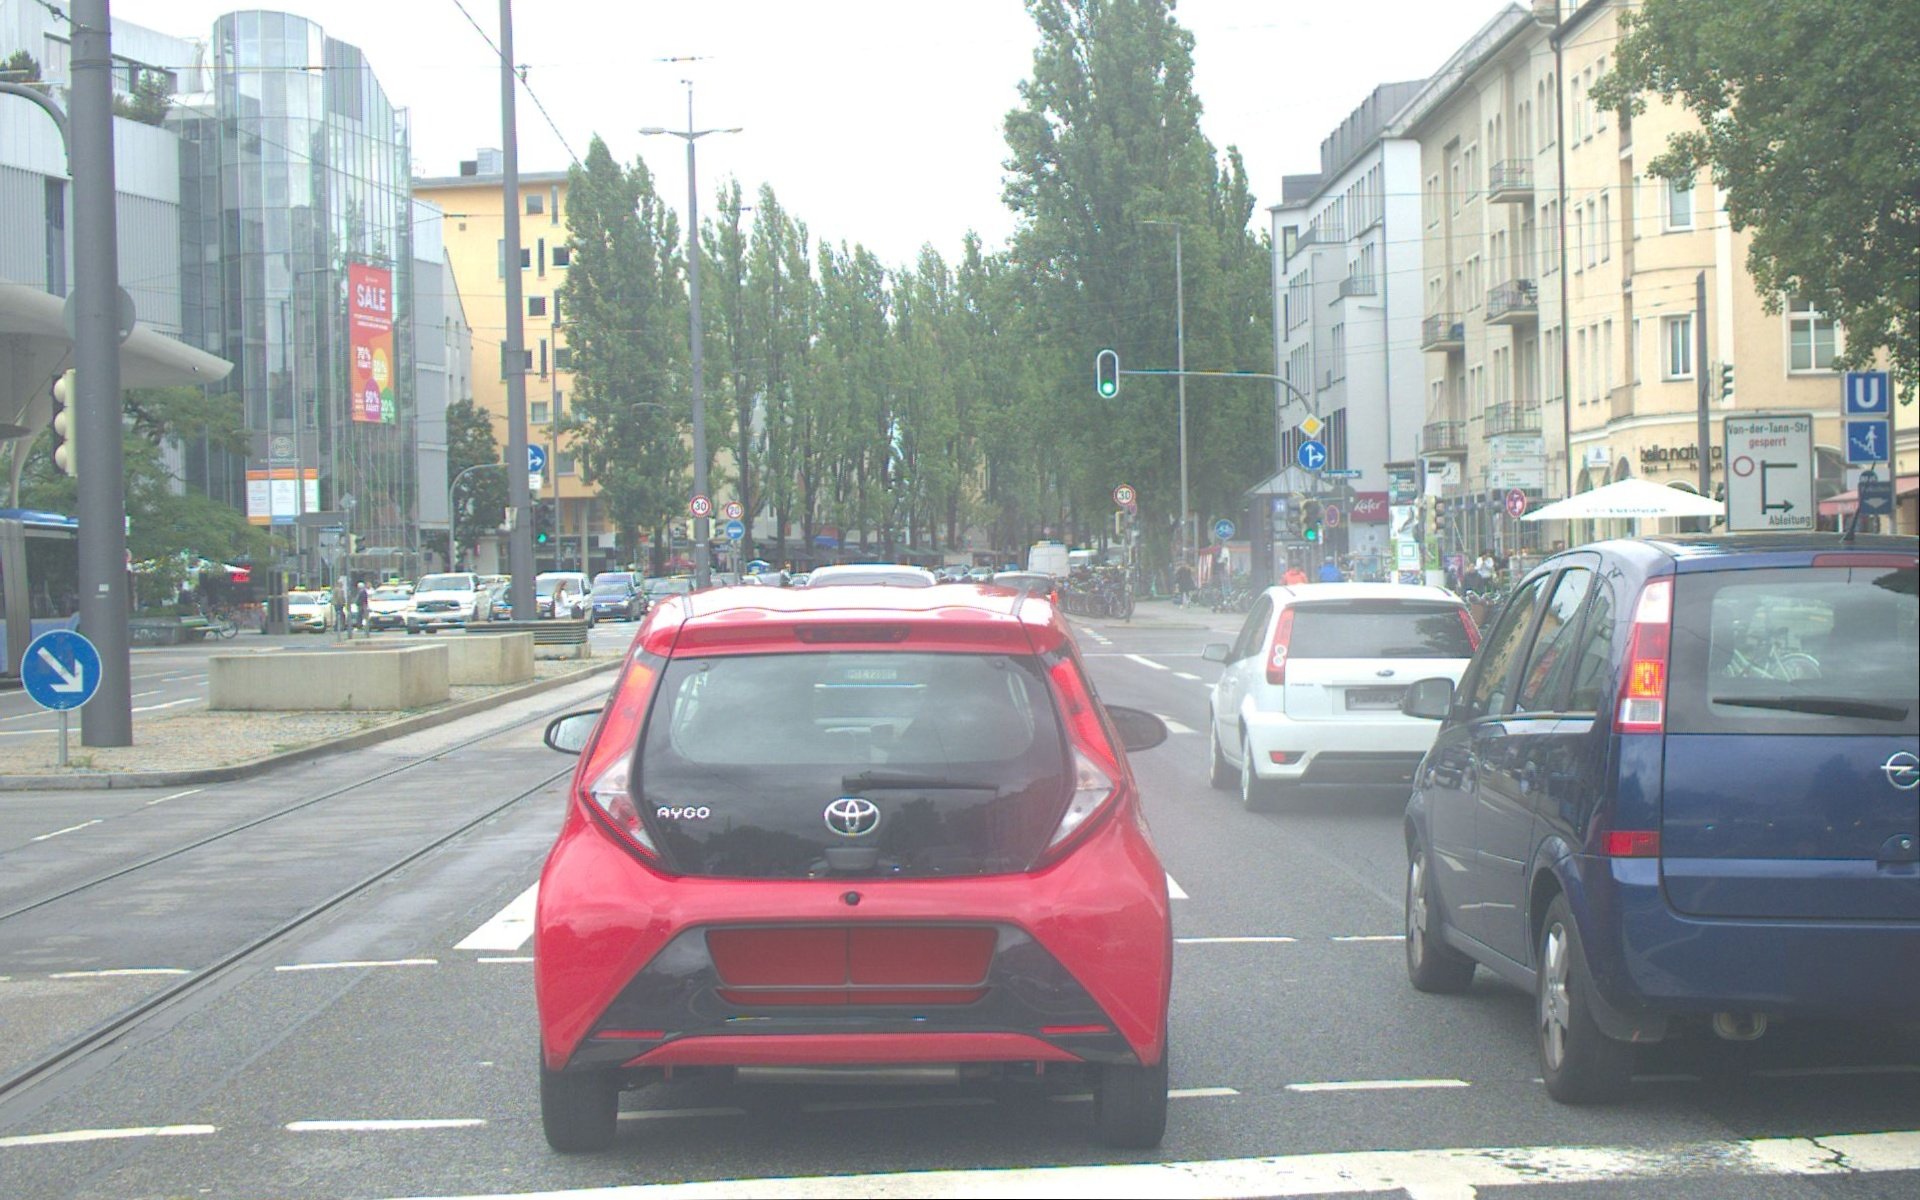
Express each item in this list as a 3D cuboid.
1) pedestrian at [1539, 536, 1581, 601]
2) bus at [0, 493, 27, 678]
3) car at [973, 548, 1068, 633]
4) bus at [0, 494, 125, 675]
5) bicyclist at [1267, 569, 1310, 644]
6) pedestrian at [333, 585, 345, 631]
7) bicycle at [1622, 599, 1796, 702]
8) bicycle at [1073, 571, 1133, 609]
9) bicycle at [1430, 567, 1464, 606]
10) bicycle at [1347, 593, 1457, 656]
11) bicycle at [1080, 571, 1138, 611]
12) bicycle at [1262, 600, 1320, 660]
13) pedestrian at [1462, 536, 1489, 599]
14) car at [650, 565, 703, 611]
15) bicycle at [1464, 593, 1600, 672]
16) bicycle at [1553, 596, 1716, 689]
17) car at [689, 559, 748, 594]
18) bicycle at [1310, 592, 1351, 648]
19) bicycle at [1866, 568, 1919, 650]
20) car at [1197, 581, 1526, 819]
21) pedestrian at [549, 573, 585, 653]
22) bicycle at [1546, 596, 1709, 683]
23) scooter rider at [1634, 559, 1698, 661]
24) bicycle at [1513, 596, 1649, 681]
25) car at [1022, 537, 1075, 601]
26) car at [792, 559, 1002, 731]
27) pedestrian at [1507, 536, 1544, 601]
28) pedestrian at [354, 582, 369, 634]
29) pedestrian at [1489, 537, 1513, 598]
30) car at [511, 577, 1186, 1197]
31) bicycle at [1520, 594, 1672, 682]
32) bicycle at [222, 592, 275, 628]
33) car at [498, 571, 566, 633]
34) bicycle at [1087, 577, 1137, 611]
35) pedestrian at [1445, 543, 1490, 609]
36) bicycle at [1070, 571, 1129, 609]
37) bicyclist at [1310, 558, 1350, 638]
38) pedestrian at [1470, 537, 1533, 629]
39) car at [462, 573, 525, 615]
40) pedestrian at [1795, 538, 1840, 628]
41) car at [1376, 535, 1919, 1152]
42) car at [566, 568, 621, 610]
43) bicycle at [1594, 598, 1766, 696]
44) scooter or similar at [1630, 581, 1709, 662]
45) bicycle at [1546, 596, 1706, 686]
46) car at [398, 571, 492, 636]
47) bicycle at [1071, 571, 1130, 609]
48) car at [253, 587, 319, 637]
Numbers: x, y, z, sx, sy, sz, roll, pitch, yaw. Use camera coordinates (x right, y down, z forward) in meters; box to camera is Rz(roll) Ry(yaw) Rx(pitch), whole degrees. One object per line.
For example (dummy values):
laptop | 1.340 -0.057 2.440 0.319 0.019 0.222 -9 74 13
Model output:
pedestrian | 16.555 -0.867 94.903 0.933 1.749 1.065 -1 1 0
bus | -16.725 -0.129 52.037 2.660 2.997 10.517 -3 1 -3
car | 1.351 -0.231 78.387 1.993 1.831 4.000 -2 1 -1
bus | -17.071 -0.236 61.060 2.660 2.997 7.514 -3 1 -1
bicyclist | 7.351 0.132 76.924 0.613 1.652 1.251 -2 1 -10
pedestrian | -21.286 0.277 117.832 0.353 1.562 0.270 -2 1 -12
bicycle | 7.731 0.513 35.552 1.841 0.992 0.374 2 3 44
bicycle | 4.459 -0.326 107.509 1.801 1.154 0.486 -1 1 26
bicycle | 13.362 -0.371 94.355 0.494 1.055 1.867 -1 1 -5
bicycle | 7.183 0.402 55.955 1.840 0.992 0.347 -2 0 39
bicycle | 4.533 -0.286 104.623 1.803 1.194 0.558 0 1 43
bicycle | 7.383 0.658 76.803 0.613 1.260 2.520 -2 1 -10
pedestrian | 13.865 -0.874 92.427 0.566 1.665 0.562 0 4 22
car | -9.455 -0.408 114.728 1.545 1.440 3.540 -2 1 -2
bicycle | 7.621 0.426 45.842 1.840 0.992 0.324 1 2 36
bicycle | 7.641 0.473 38.979 1.840 0.992 0.374 1 2 37
car | -10.577 -1.026 150.860 1.994 1.407 4.167 3 1 3
bicycle | 8.733 0.457 81.193 0.614 1.260 2.520 -1 1 -1
bicycle | 12.555 0.107 44.192 1.722 1.042 0.387 -1 2 -7
car | 2.579 0.601 22.817 1.699 1.421 3.497 1 1 -1
pedestrian | -8.010 0.267 70.129 0.521 1.613 0.463 -1 1 43
bicycle | 7.838 0.457 40.403 1.838 0.992 0.375 0 2 24
scooter rider | 9.745 0.130 47.492 0.700 1.384 0.643 -1 1 -2
bicycle | 7.720 0.465 42.813 0.324 0.992 1.841 -2 2 -43
car | 3.858 -1.358 150.327 2.107 2.709 4.804 -2 1 0
car | -0.647 0.410 35.330 1.993 1.612 4.000 -2 1 -1
pedestrian | 15.227 -0.858 92.602 0.644 1.699 0.733 -4 4 -30
pedestrian | -20.513 0.281 117.919 0.445 1.754 0.356 -1 1 -6
pedestrian | 14.562 -0.869 92.571 0.561 1.604 0.567 -1 4 13
car | -0.259 0.681 9.855 1.605 1.456 3.130 1 1 0
bicycle | 7.599 0.448 41.145 1.840 0.992 0.324 1 2 37
bicycle | -22.110 0.308 106.827 1.574 1.108 0.373 -1 1 4
car | -13.512 0.049 108.666 1.786 1.849 4.219 -2 1 -3
bicycle | 4.546 -0.179 103.108 0.498 1.025 1.601 -2 1 -43
pedestrian | 12.006 -0.564 81.412 0.729 1.535 0.891 -1 0 -15
bicycle | 4.384 -0.312 108.169 1.802 1.154 0.486 -1 1 29
bicyclist | 8.730 -0.054 81.206 0.762 1.863 1.133 -1 1 -1
pedestrian | 10.414 -0.329 66.117 0.881 1.737 0.858 -1 0 -17
car | -16.062 -0.225 118.524 1.672 1.374 4.614 -1 1 -2
pedestrian | 15.740 -0.313 63.116 0.614 1.627 0.678 -1 0 0
car | 2.372 0.604 10.646 1.703 1.584 3.556 0 1 0
car | -13.025 -0.401 122.347 1.677 1.391 4.233 -2 1 -3
bicycle | 7.734 0.497 36.983 1.840 0.992 0.374 1 2 38
scooter or similar | 9.791 0.289 47.488 0.775 1.071 1.256 -1 1 -2
bicycle | 7.688 0.465 39.727 1.840 0.992 0.374 1 2 37
car | -15.846 0.075 106.068 2.175 1.881 6.157 -2 1 -3
bicycle | 4.363 -0.319 106.699 1.803 1.154 0.547 -1 1 38
car | -22.700 0.386 115.665 1.993 1.531 4.416 -2 1 -13
